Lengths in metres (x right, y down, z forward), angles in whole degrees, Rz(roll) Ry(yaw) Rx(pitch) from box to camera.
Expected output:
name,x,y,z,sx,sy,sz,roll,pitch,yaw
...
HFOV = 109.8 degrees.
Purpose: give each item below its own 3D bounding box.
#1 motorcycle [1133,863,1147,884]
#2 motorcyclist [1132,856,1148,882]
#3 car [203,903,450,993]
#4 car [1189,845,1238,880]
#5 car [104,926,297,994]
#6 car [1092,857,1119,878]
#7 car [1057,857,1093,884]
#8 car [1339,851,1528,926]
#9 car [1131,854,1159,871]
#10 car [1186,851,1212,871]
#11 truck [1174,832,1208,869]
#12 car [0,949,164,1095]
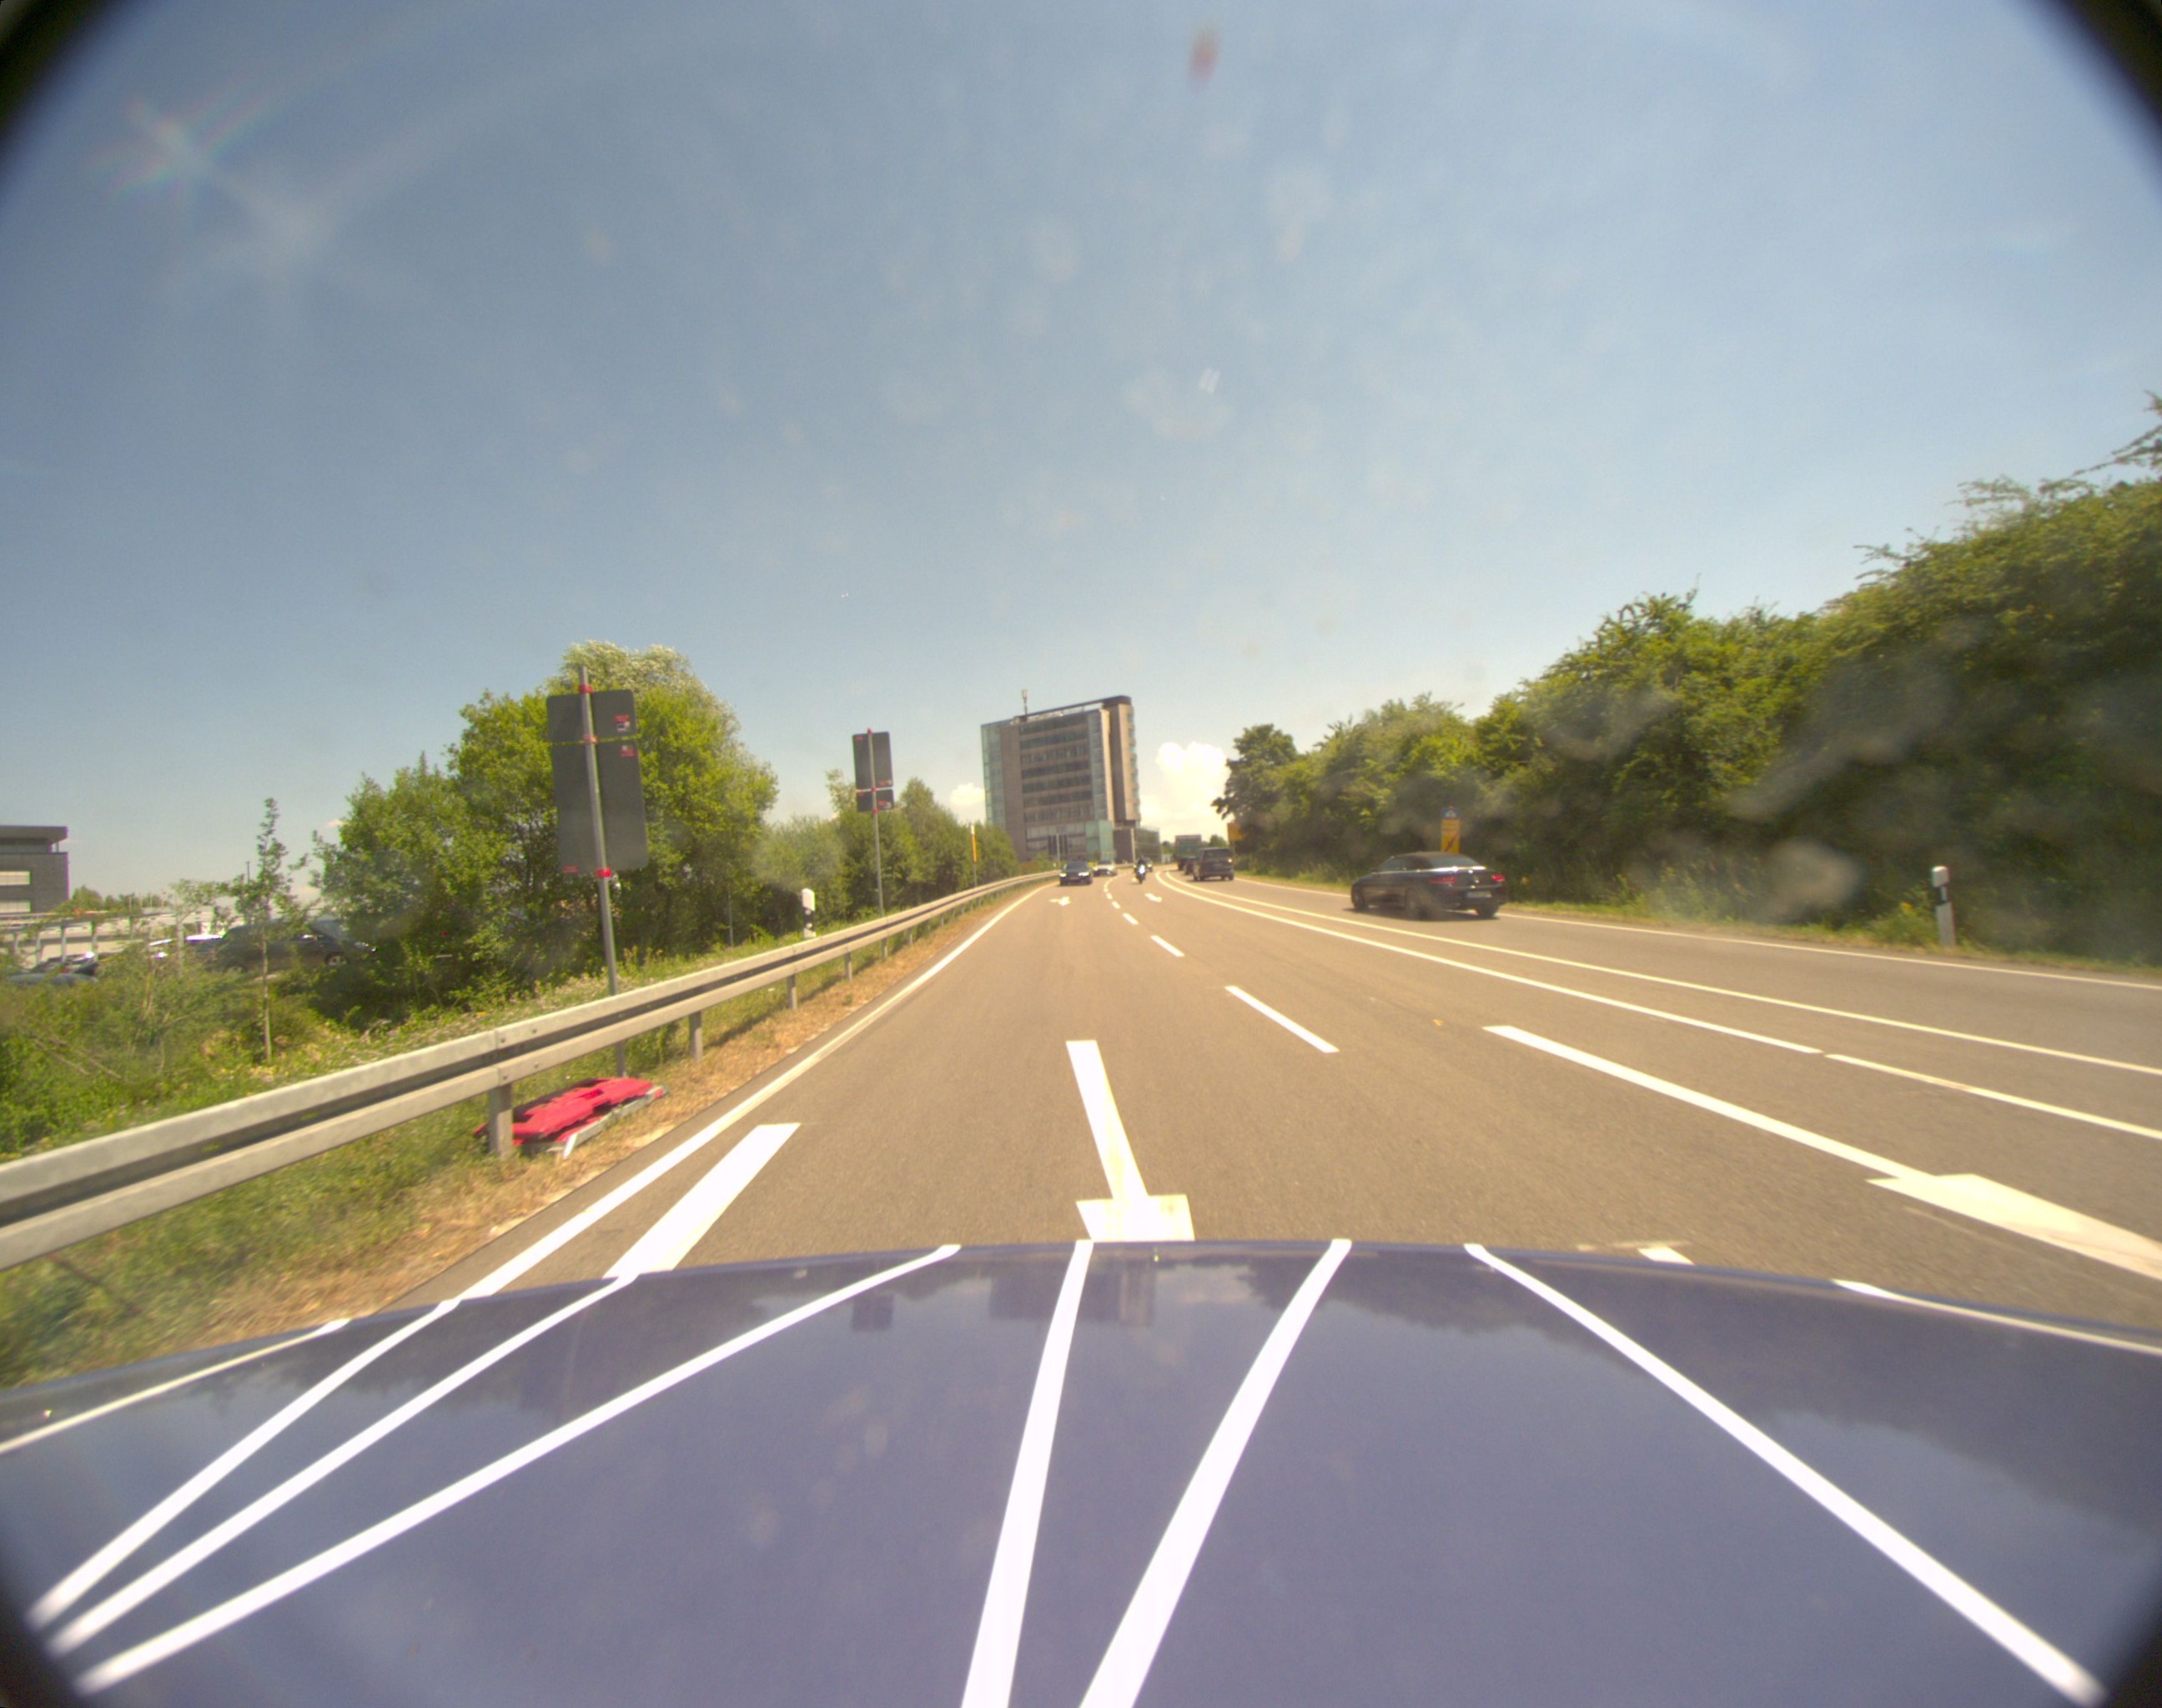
name,x,y,z,sx,sy,sz,roll,pitch,yaw
motorcycle,3.441,1.114,44.195,0.733,1.131,2.074,-1,0,6
motorcyclist,3.446,0.843,44.165,0.860,1.479,1.162,-2,0,6
car,-20.508,2.512,20.806,4.690,1.956,2.001,-5,-2,0
car,7.778,0.476,45.009,1.998,1.883,5.104,-2,0,0
car,-32.793,3.907,28.458,1.996,1.956,4.317,-6,-3,26
car,2.183,1.199,66.787,1.933,1.576,4.183,-5,-3,6
car,-0.297,1.006,46.513,1.779,1.497,4.563,-3,-1,4
car,7.781,0.692,17.363,1.822,1.433,4.641,-2,0,-5
car,6.569,0.839,77.377,2.115,1.581,4.454,-3,0,13
car,9.286,0.526,60.145,1.881,1.433,4.332,-2,0,7
truck,11.608,-0.376,79.731,2.874,3.553,9.438,-2,0,11
car,-20.434,3.110,13.439,5.234,2.244,2.135,-4,-2,-8
